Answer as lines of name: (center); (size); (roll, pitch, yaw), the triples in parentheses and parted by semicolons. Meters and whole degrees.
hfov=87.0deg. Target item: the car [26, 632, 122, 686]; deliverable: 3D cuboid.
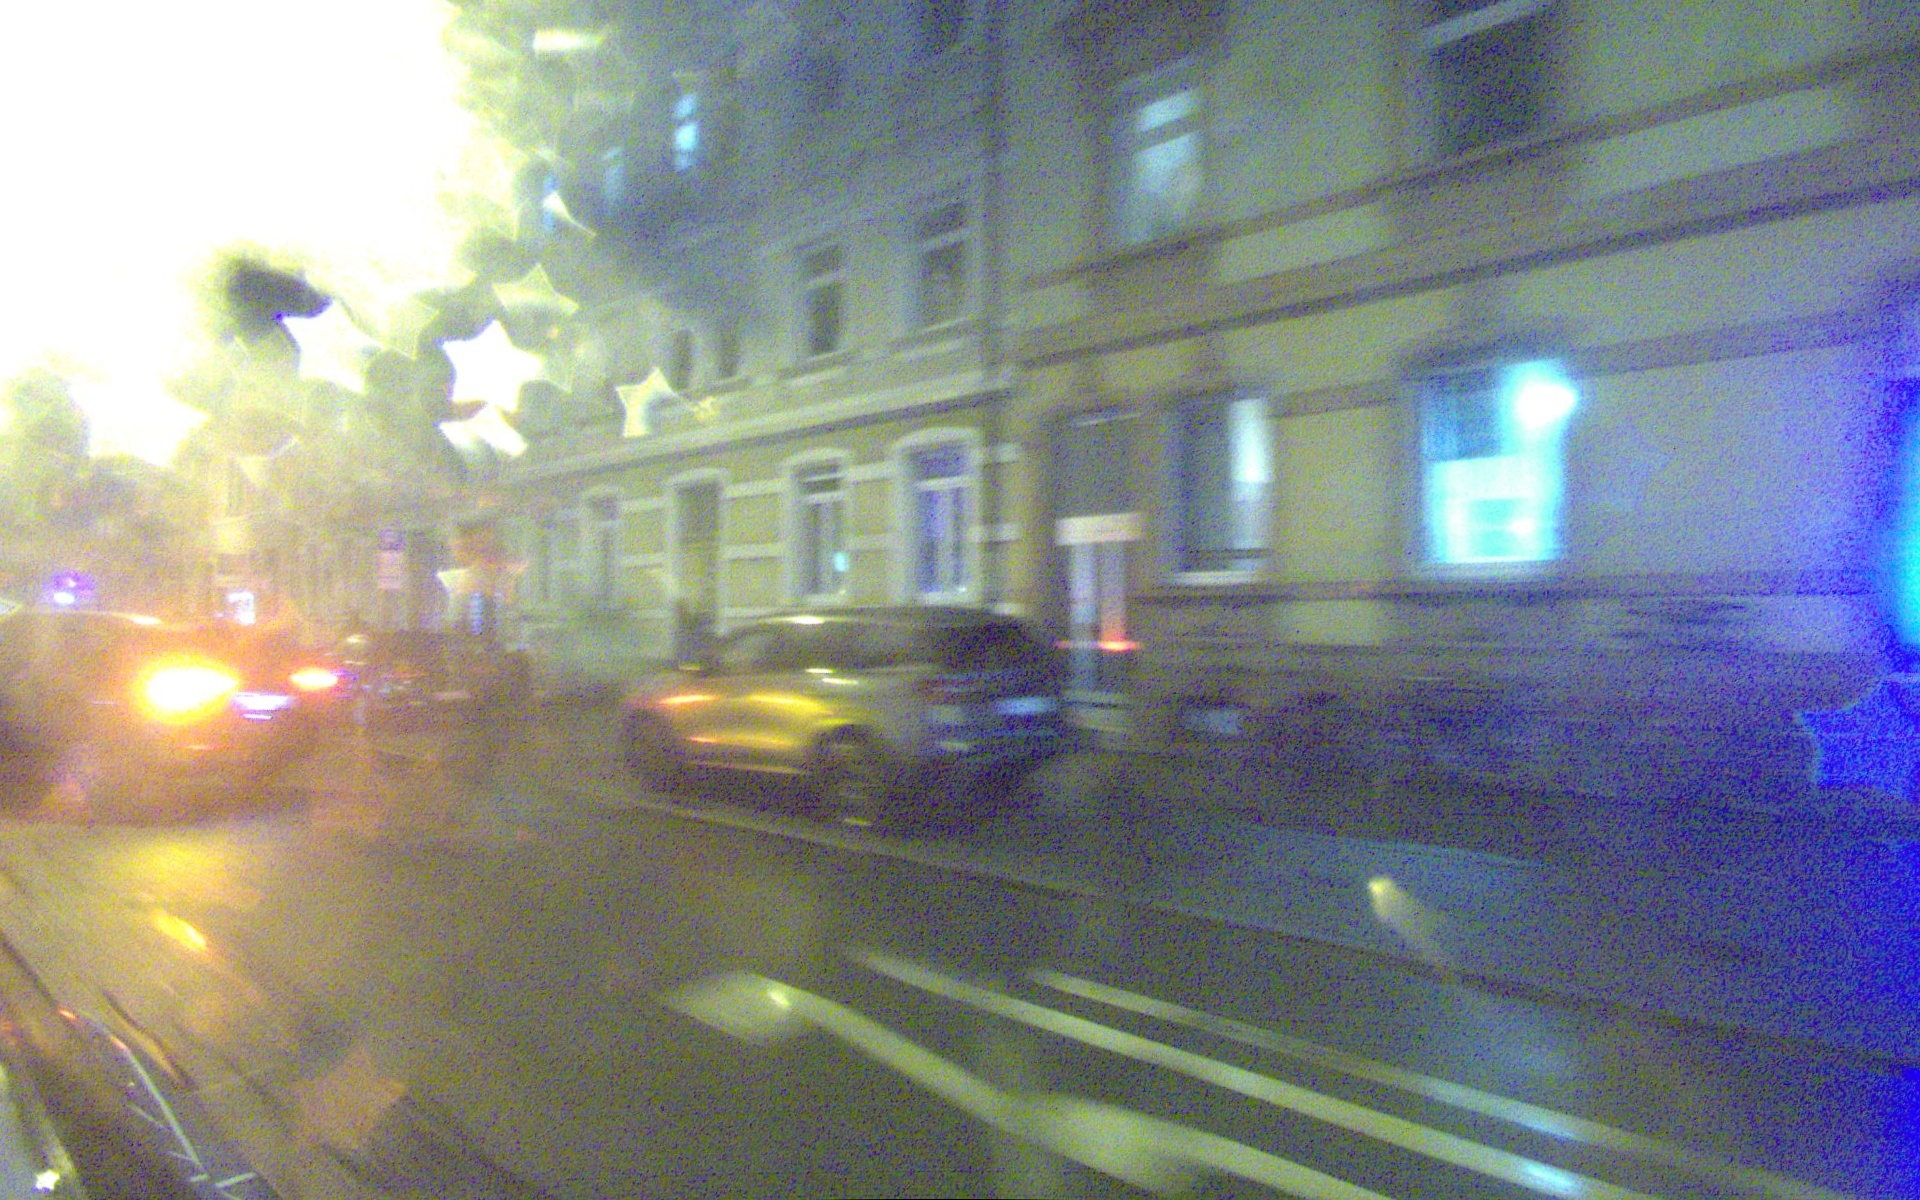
car: (-28.297, 1.824, 32.282); (4.132, 1.584, 1.756); (-1, -2, 41)

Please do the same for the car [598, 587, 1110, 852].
car: (-1.135, 0.838, 8.826); (4.592, 1.730, 1.813); (-2, -2, 41)

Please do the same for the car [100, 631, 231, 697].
car: (-19.955, 1.544, 25.361); (4.304, 1.492, 1.813); (-2, -2, 41)

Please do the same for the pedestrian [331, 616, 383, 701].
pedestrian: (-13.429, 1.268, 22.543); (0.987, 1.818, 0.735); (-1, 1, 44)

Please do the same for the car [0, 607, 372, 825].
car: (-7.959, 0.925, 9.064); (4.528, 1.630, 1.919); (0, -3, 13)

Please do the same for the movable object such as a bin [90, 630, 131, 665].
movable object such as a bin: (-36.654, 2.042, 43.668); (1.377, 1.465, 1.090); (-1, -3, 39)

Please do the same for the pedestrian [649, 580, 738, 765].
pedestrian: (-2.967, 0.786, 11.310); (0.760, 1.988, 0.657); (-1, 0, 3)

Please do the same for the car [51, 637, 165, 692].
car: (-24.293, 1.770, 28.804); (4.423, 1.400, 1.803); (-1, -2, 41)

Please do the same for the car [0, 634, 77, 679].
car: (-33.423, 2.011, 36.677); (3.719, 1.502, 1.655); (-1, -1, 41)

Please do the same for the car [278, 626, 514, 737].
car: (-8.985, 1.170, 15.957); (4.592, 1.497, 1.813); (-2, -2, 41)
